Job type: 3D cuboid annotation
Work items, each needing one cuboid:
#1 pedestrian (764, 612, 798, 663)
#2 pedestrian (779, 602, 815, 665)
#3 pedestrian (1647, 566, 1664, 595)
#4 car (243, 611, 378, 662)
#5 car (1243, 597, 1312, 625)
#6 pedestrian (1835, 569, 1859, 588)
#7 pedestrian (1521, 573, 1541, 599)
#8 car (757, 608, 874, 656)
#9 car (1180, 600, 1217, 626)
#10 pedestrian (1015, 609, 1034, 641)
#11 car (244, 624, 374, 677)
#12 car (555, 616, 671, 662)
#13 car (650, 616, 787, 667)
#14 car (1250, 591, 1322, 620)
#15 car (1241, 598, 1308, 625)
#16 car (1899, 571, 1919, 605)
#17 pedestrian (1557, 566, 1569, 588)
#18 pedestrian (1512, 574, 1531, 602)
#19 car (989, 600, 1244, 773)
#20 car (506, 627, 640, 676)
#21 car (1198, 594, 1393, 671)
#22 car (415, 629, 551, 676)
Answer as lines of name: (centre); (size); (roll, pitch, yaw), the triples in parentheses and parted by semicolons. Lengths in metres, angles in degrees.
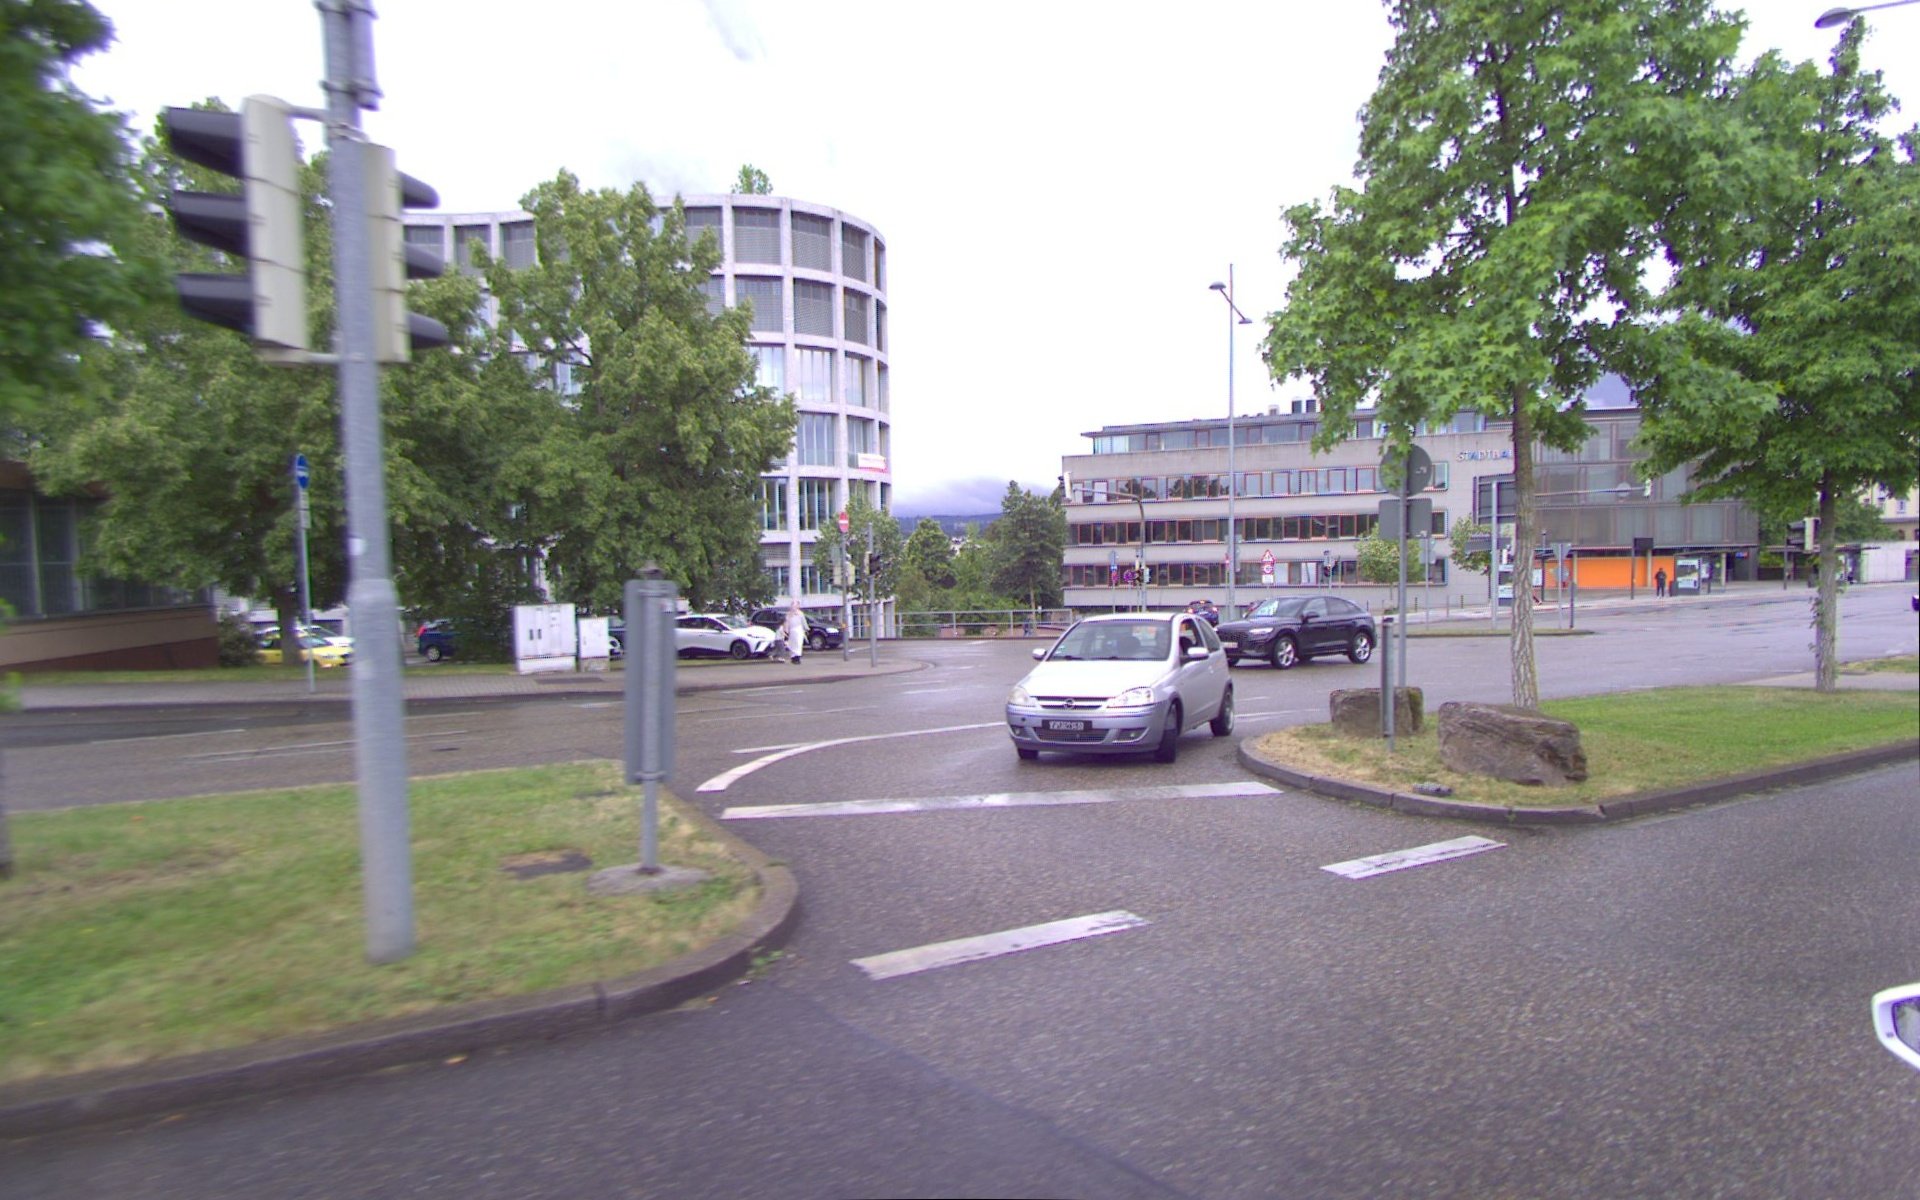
pedestrian: (-4.731, 0.980, 26.522); (0.626, 1.309, 0.645); (1, -2, -43)
pedestrian: (-4.191, 0.866, 25.829); (0.622, 1.591, 0.649); (-2, -2, 44)
pedestrian: (41.989, -1.192, 60.613); (0.752, 1.706, 0.473); (-2, 1, -24)
car: (-25.706, 1.440, 39.818); (4.340, 1.842, 1.729); (-1, 1, 6)
car: (18.477, 0.623, 58.543); (3.522, 1.515, 1.628); (-2, 1, -15)
pedestrian: (64.796, -1.553, 73.352); (0.834, 1.285, 0.977); (-2, 5, -9)
pedestrian: (31.124, -0.744, 54.760); (0.713, 1.411, 0.674); (-2, 1, -32)
car: (-5.156, 1.134, 36.057); (3.760, 1.589, 1.729); (-1, 1, 13)
car: (13.286, 0.707, 56.095); (1.453, 1.369, 3.583); (-1, 1, 4)
pedestrian: (3.312, 1.299, 51.781); (0.697, 1.604, 0.667); (-2, 1, -32)
car: (-23.321, 1.795, 36.063); (3.578, 1.721, 1.729); (-1, 1, 7)
car: (-13.081, 1.446, 37.931); (3.760, 1.589, 1.729); (-1, 1, 13)
car: (-8.140, 1.393, 33.955); (4.058, 1.589, 1.888); (-1, 1, 14)
car: (18.281, 0.294, 56.415); (3.522, 1.515, 1.628); (-2, 1, -15)
car: (19.416, 0.680, 62.156); (3.711, 1.515, 1.766); (-2, 1, 9)
car: (45.053, -0.594, 45.868); (4.860, 1.524, 1.839); (-2, 1, -30)
pedestrian: (48.186, -1.805, 80.239); (0.630, 1.706, 0.475); (-2, 1, 1)
pedestrian: (30.420, -0.661, 54.380); (0.619, 1.488, 0.674); (-2, 1, -32)
car: (1.844, 0.762, 10.717); (1.607, 1.468, 3.872); (-2, 0, 26)
car: (-13.378, 1.767, 34.823); (3.973, 1.528, 1.729); (-1, 1, 11)
car: (8.065, 0.750, 24.005); (4.808, 1.684, 1.896); (1, 0, -34)
car: (-18.548, 2.032, 39.153); (4.488, 1.589, 1.729); (-1, 1, 5)
